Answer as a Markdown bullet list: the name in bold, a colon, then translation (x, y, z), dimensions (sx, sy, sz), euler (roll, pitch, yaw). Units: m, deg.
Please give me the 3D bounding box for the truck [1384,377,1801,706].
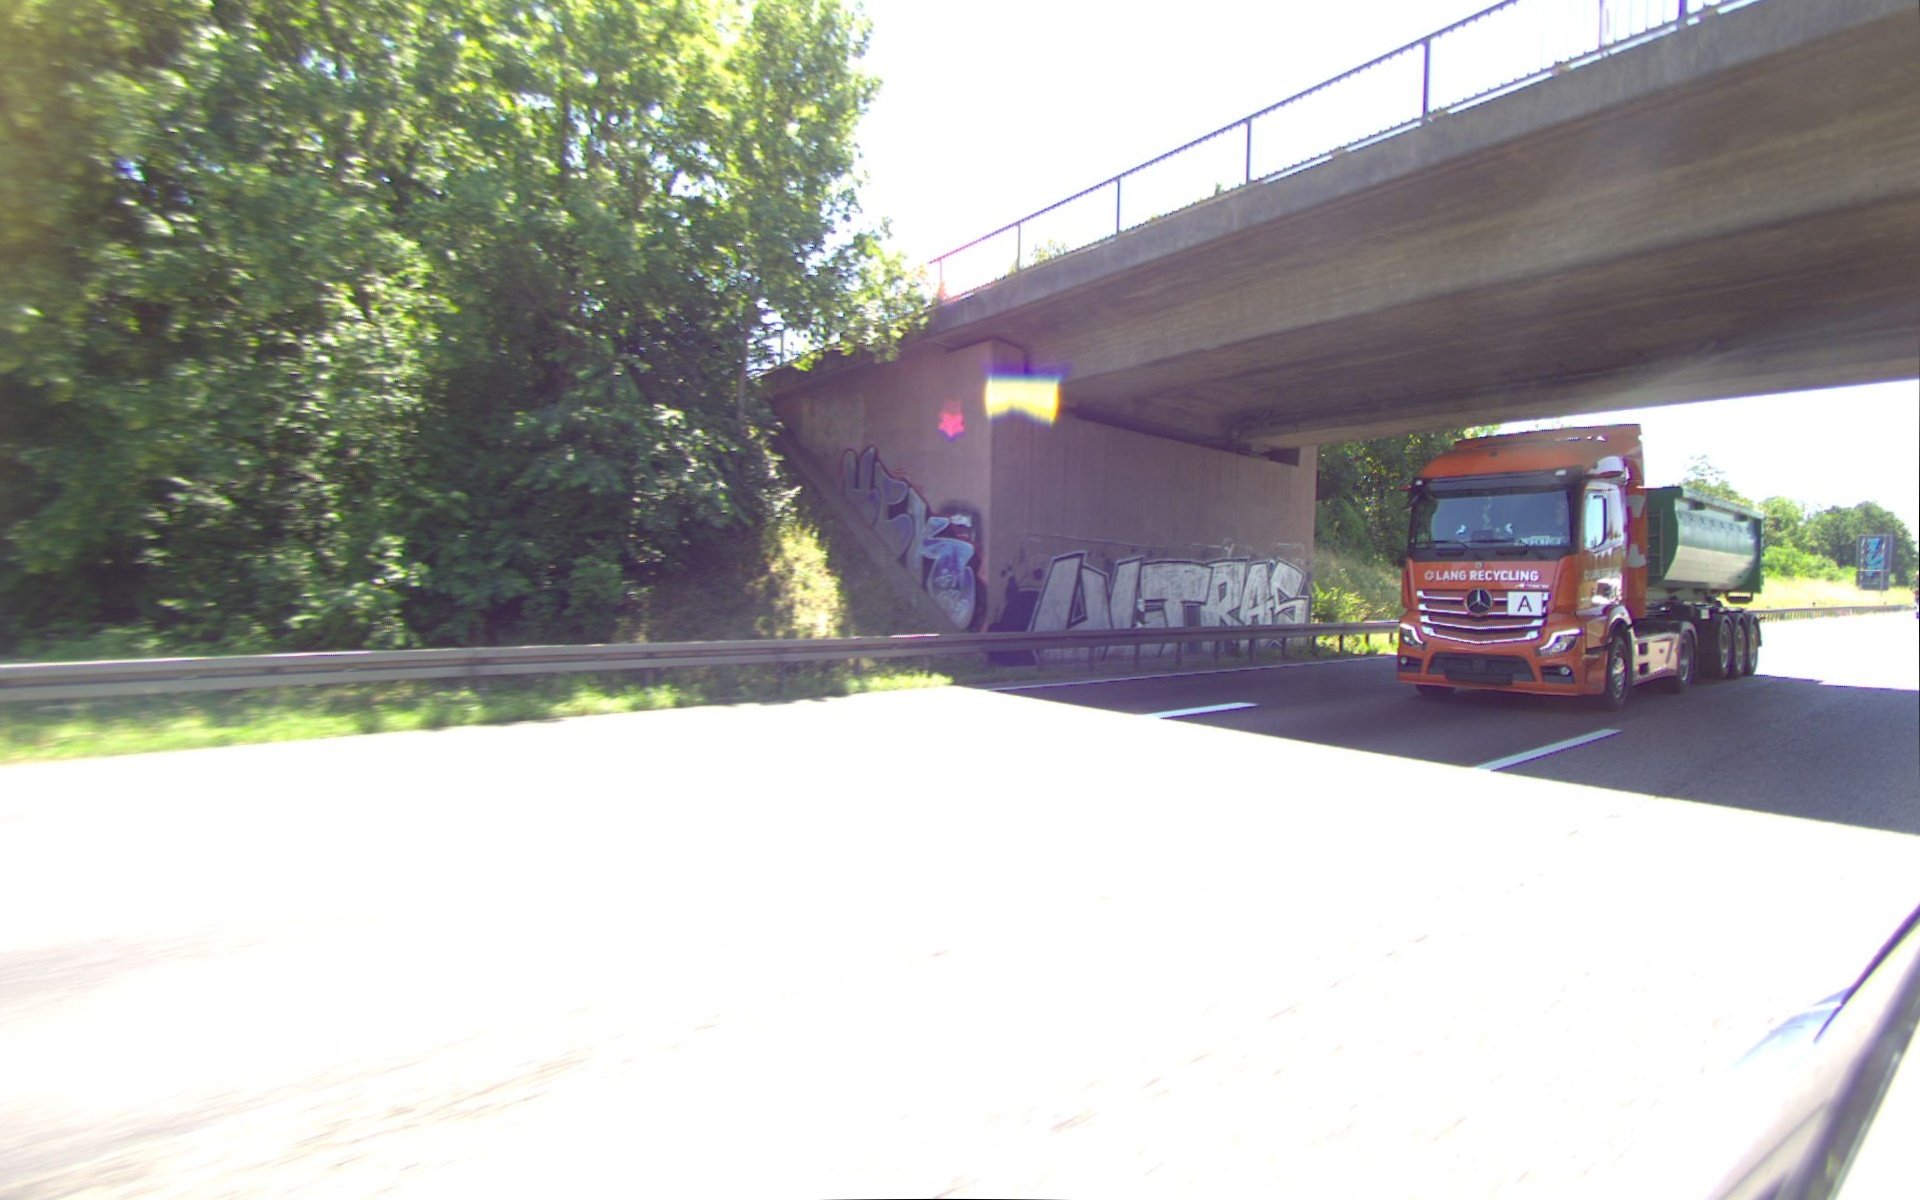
- **truck**: translation (11.239, -0.698, 16.954), dimensions (12.263, 3.846, 2.684), euler (0, 0, -42)
